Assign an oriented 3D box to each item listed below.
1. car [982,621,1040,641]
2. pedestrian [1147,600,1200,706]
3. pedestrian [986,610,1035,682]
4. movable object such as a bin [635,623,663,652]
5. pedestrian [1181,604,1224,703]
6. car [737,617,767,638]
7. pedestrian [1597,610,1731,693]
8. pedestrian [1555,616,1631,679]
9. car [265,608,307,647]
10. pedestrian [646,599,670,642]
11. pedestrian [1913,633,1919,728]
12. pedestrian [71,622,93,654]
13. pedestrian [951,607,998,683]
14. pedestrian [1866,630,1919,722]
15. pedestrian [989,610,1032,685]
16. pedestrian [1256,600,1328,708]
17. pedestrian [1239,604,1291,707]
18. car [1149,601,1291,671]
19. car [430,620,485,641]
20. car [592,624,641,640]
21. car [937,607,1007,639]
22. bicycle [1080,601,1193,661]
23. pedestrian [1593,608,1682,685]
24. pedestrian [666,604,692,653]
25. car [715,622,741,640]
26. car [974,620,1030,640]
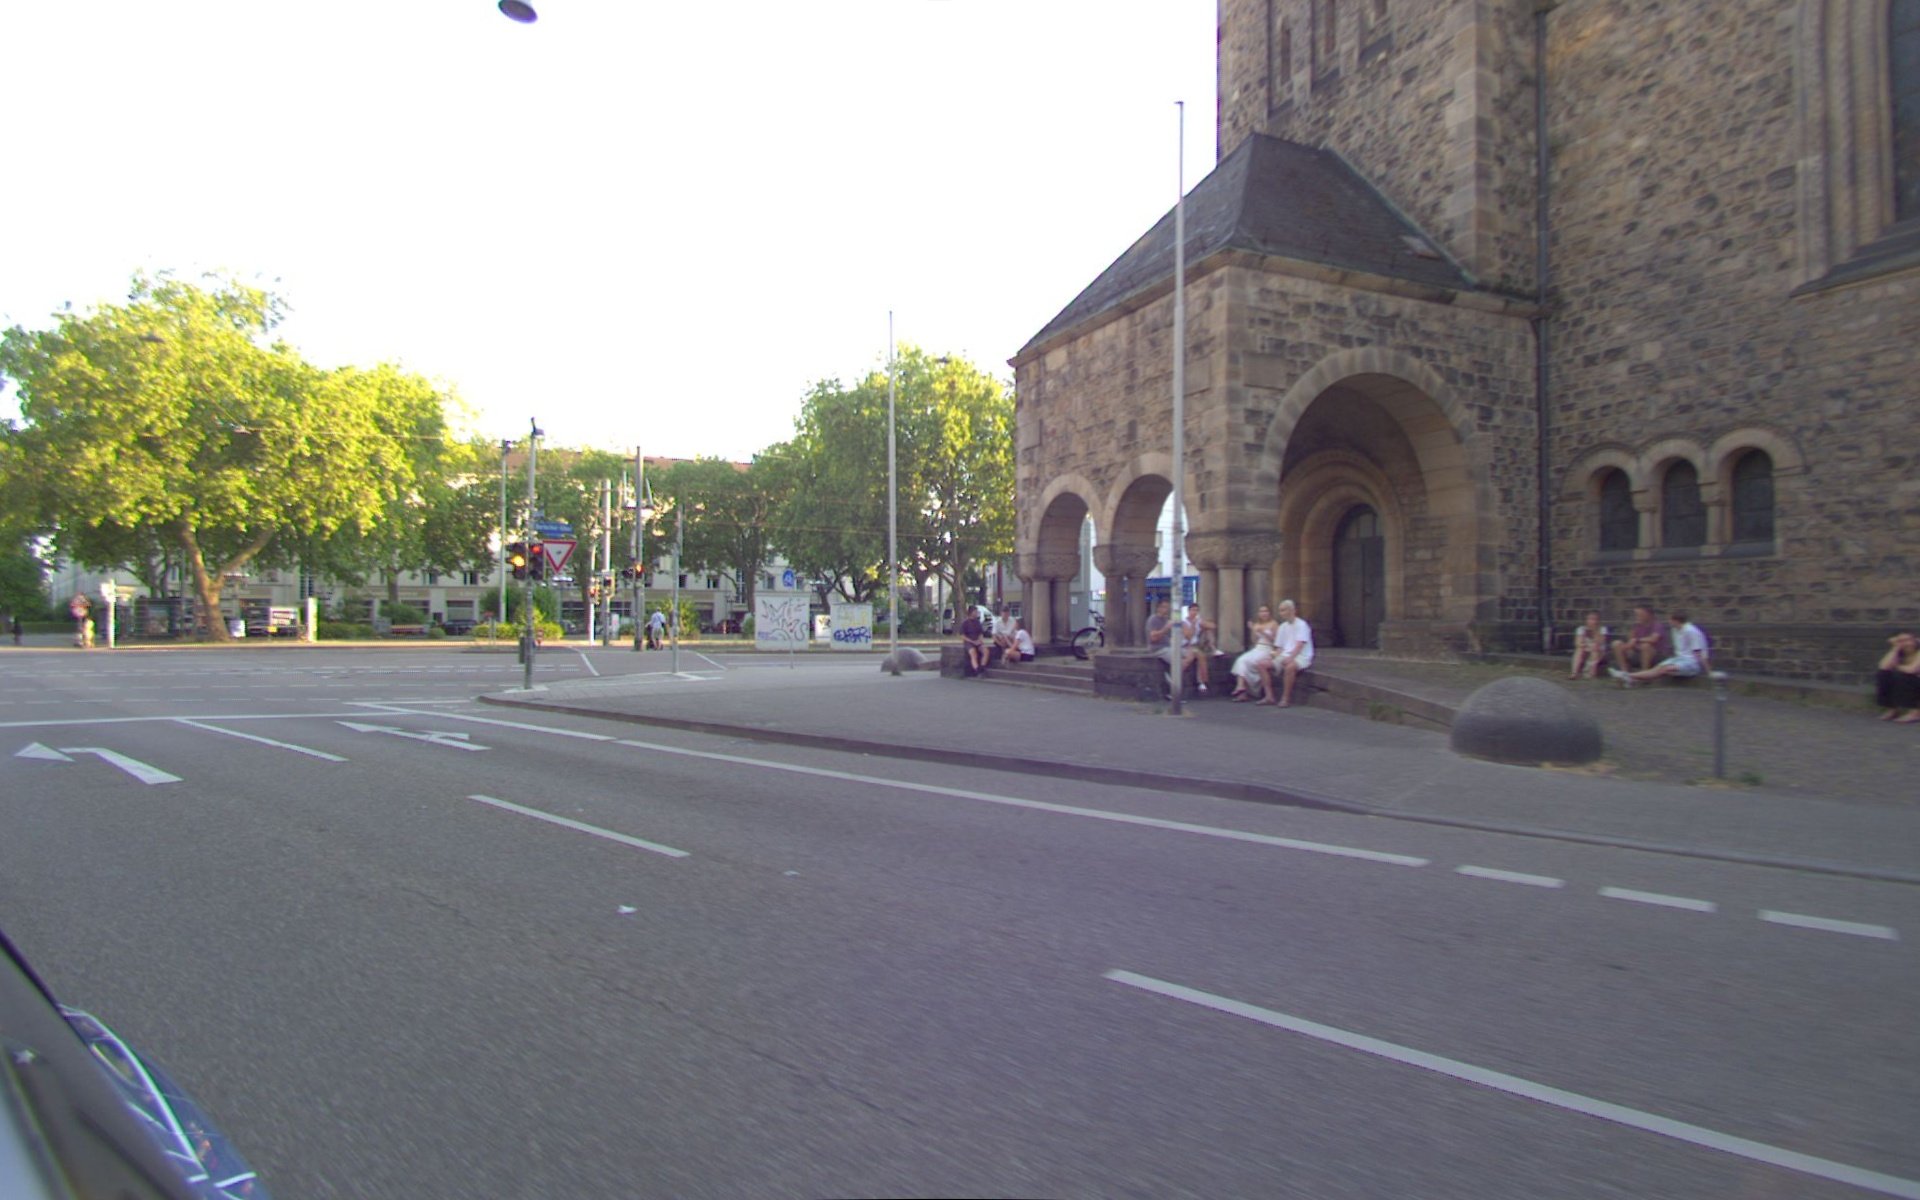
[{"bbox_3d":[3.830,2.312,76.029,3.931,1.493,1.759,0,-1,-18],"label":"car"},{"bbox_3d":[3.031,0.747,14.380,0.541,1.464,0.559,0,-1,-14],"label":"pedestrian"},{"bbox_3d":[1.001,0.896,20.029,0.790,1.385,0.701,1,-2,-15],"label":"pedestrian"},{"bbox_3d":[-12.319,1.458,40.027,0.847,1.128,1.141,1,-2,-29],"label":"movable object such as a bin"},{"bbox_3d":[3.519,0.768,14.716,0.395,1.417,0.549,0,-1,-14],"label":"pedestrian"},{"bbox_3d":[-19.008,2.488,92.366,1.965,1.851,4.331,1,-2,-22],"label":"car"},{"bbox_3d":[9.628,0.694,13.879,1.315,1.102,0.685,0,-1,2],"label":"pedestrian"},{"bbox_3d":[9.524,0.708,15.248,0.730,0.923,0.647,0,-1,2],"label":"pedestrian"},{"bbox_3d":[-36.757,1.497,55.181,1.837,2.029,3.820,1,-2,-34],"label":"car"},{"bbox_3d":[-11.682,0.795,39.111,0.708,1.646,1.010,1,-2,-29],"label":"pedestrian"},{"bbox_3d":[10.429,0.848,10.415,0.688,0.999,0.560,0,-1,8],"label":"pedestrian"},{"bbox_3d":[-44.775,1.940,51.603,0.734,1.641,0.662,1,-2,-32],"label":"pedestrian"},{"bbox_3d":[0.279,0.872,19.854,0.619,1.465,0.918,1,-2,-23],"label":"pedestrian"},{"bbox_3d":[10.450,0.821,11.023,0.642,0.975,0.560,0,-1,8],"label":"pedestrian"},{"bbox_3d":[0.951,0.896,19.109,0.793,1.385,0.699,0,-1,3],"label":"pedestrian"},{"bbox_3d":[4.479,0.722,13.685,0.692,1.417,0.634,0,-1,-14],"label":"pedestrian"},{"bbox_3d":[4.307,0.775,14.303,0.539,1.417,0.460,0,-1,-14],"label":"pedestrian"},{"bbox_3d":[7.266,0.988,28.800,1.557,1.822,4.420,1,-1,-23],"label":"car"},{"bbox_3d":[-43.495,2.638,87.716,3.932,1.719,2.006,0,-1,-15],"label":"car"},{"bbox_3d":[-31.273,2.865,92.079,3.931,1.429,1.815,1,-2,-30],"label":"car"},{"bbox_3d":[0.998,1.905,83.579,5.482,2.638,2.006,1,-2,-25],"label":"car"},{"bbox_3d":[3.324,0.578,18.962,2.247,1.065,0.597,1,-2,-31],"label":"bicycle"},{"bbox_3d":[9.741,0.662,14.573,0.819,1.084,0.647,0,-1,2],"label":"pedestrian"},{"bbox_3d":[-10.996,1.115,39.597,0.699,1.861,1.163,1,-2,-29],"label":"pedestrian"},{"bbox_3d":[-23.044,3.039,100.560,1.965,1.752,4.013,1,-1,-21],"label":"car"},{"bbox_3d":[3.265,2.281,78.257,3.931,1.493,1.759,0,-1,-18],"label":"car"}]
